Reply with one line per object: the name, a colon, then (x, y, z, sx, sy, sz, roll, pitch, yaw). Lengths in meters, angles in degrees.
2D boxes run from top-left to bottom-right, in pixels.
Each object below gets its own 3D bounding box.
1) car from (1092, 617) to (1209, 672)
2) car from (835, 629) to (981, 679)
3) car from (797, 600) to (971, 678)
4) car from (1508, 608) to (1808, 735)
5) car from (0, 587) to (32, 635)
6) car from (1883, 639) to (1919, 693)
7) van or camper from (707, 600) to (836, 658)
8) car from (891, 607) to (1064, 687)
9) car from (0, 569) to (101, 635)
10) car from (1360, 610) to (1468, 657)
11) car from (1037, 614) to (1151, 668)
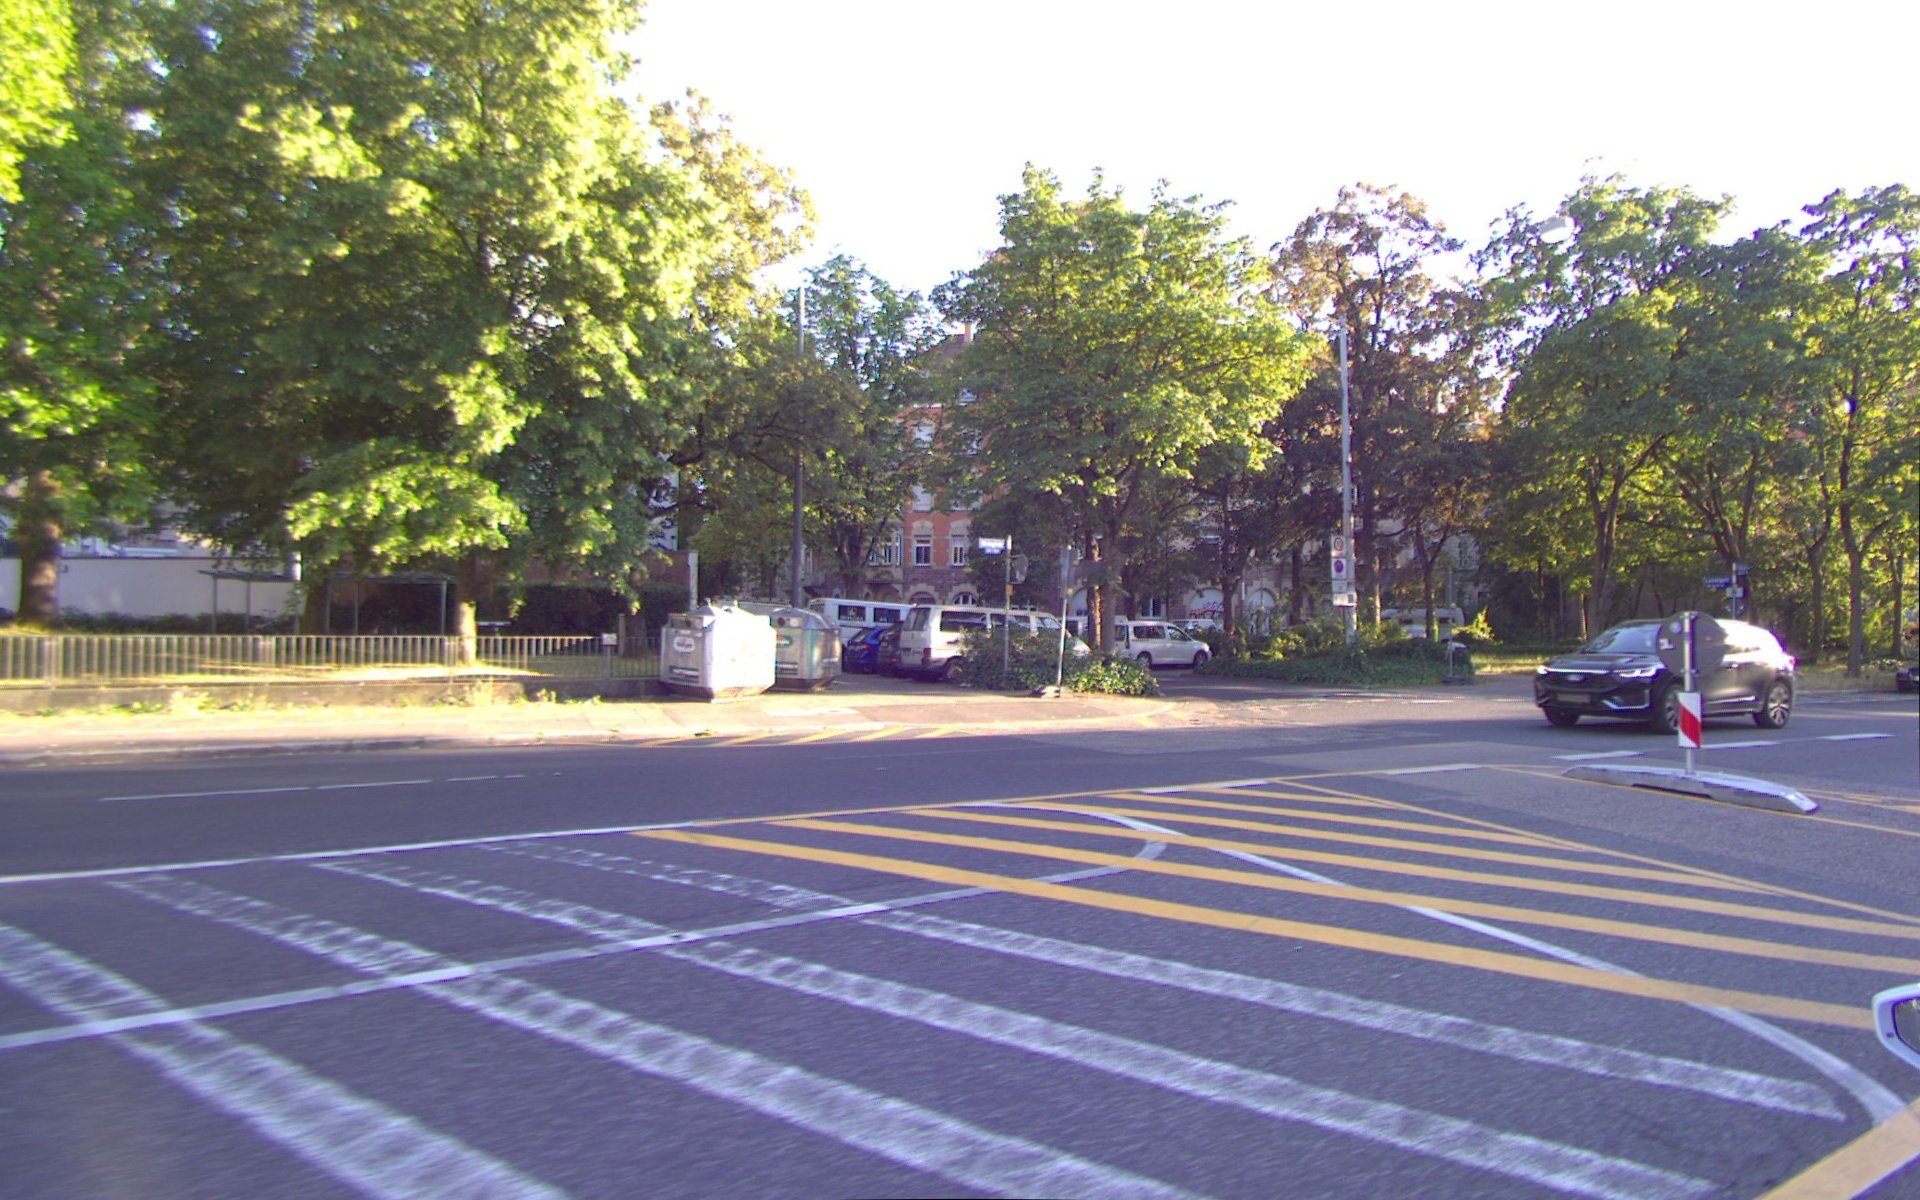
car: (7.148, 1.653, 37.625, 3.954, 1.907, 1.983, 2, 1, -31)
car: (-1.513, 1.561, 29.664, 3.954, 1.350, 1.724, 2, -1, -31)
car: (-2.410, 1.216, 31.877, 5.028, 2.319, 2.209, 1, 0, -24)
car: (10.846, 1.093, 15.581, 4.508, 1.728, 1.871, 2, -4, -27)
car: (-37.794, 0.389, 37.603, 1.922, 1.852, 4.117, 1, -1, 9)
car: (29.459, 1.962, 29.758, 4.485, 1.526, 1.618, 2, -2, -27)
van or camper: (-8.507, 1.315, 45.397, 5.360, 2.504, 2.057, 2, 0, -28)
car: (0.460, 1.141, 24.953, 3.954, 1.819, 1.809, 2, -1, -31)
car: (-27.361, 0.028, 29.101, 1.825, 1.847, 3.268, 2, 0, 18)
car: (25.635, 1.859, 56.897, 5.128, 2.518, 2.275, 1, -1, 8)
car: (5.888, 1.785, 44.089, 4.685, 2.218, 1.984, 2, 1, -30)
